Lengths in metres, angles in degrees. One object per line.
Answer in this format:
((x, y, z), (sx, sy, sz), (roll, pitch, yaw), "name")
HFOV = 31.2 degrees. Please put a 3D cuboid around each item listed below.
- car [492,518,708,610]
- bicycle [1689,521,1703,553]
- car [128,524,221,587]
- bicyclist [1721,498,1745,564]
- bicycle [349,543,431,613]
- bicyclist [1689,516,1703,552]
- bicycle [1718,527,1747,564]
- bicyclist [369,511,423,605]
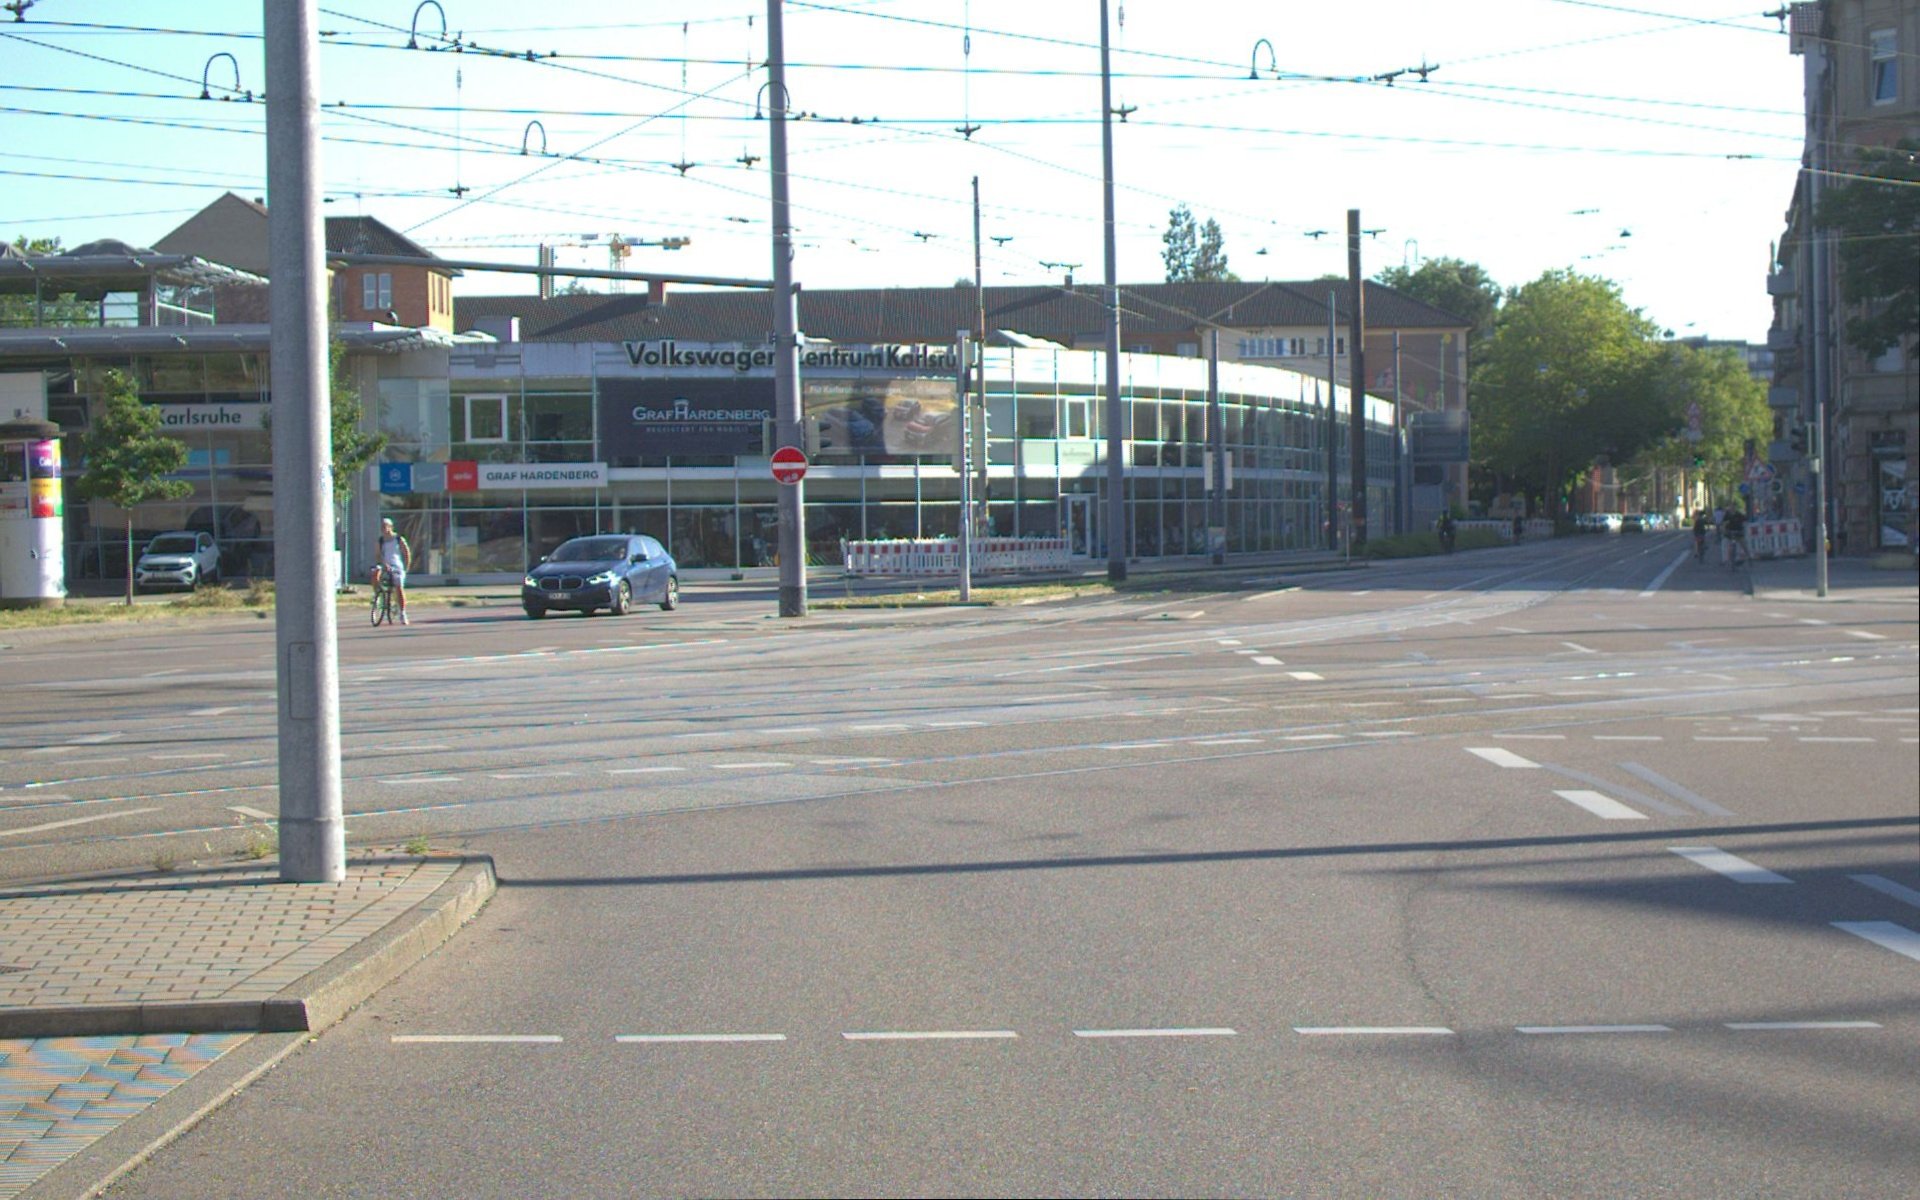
((-6.424, -0.637, 61.700), (1.996, 1.579, 3.994), (1, 1, 27), "car")
((22.519, -1.928, 105.197), (0.410, 0.938, 1.844), (1, 1, 12), "bicycle")
((-22.618, -1.269, 99.116), (1.993, 1.744, 4.001), (1, 1, -4), "car")
((20.137, -1.789, 89.575), (0.518, 1.695, 0.516), (1, 0, 3), "bicyclist")
((-9.878, -0.382, 59.634), (0.613, 1.185, 1.867), (1, 1, 17), "bicycle")
((22.496, -2.018, 105.103), (0.408, 1.112, 0.399), (1, 0, 11), "bicyclist")
((20.124, -1.424, 89.565), (0.658, 0.949, 1.599), (1, 1, 15), "bicycle")
((-9.812, -0.730, 59.850), (0.598, 1.610, 0.822), (1, 0, 17), "bicyclist")
